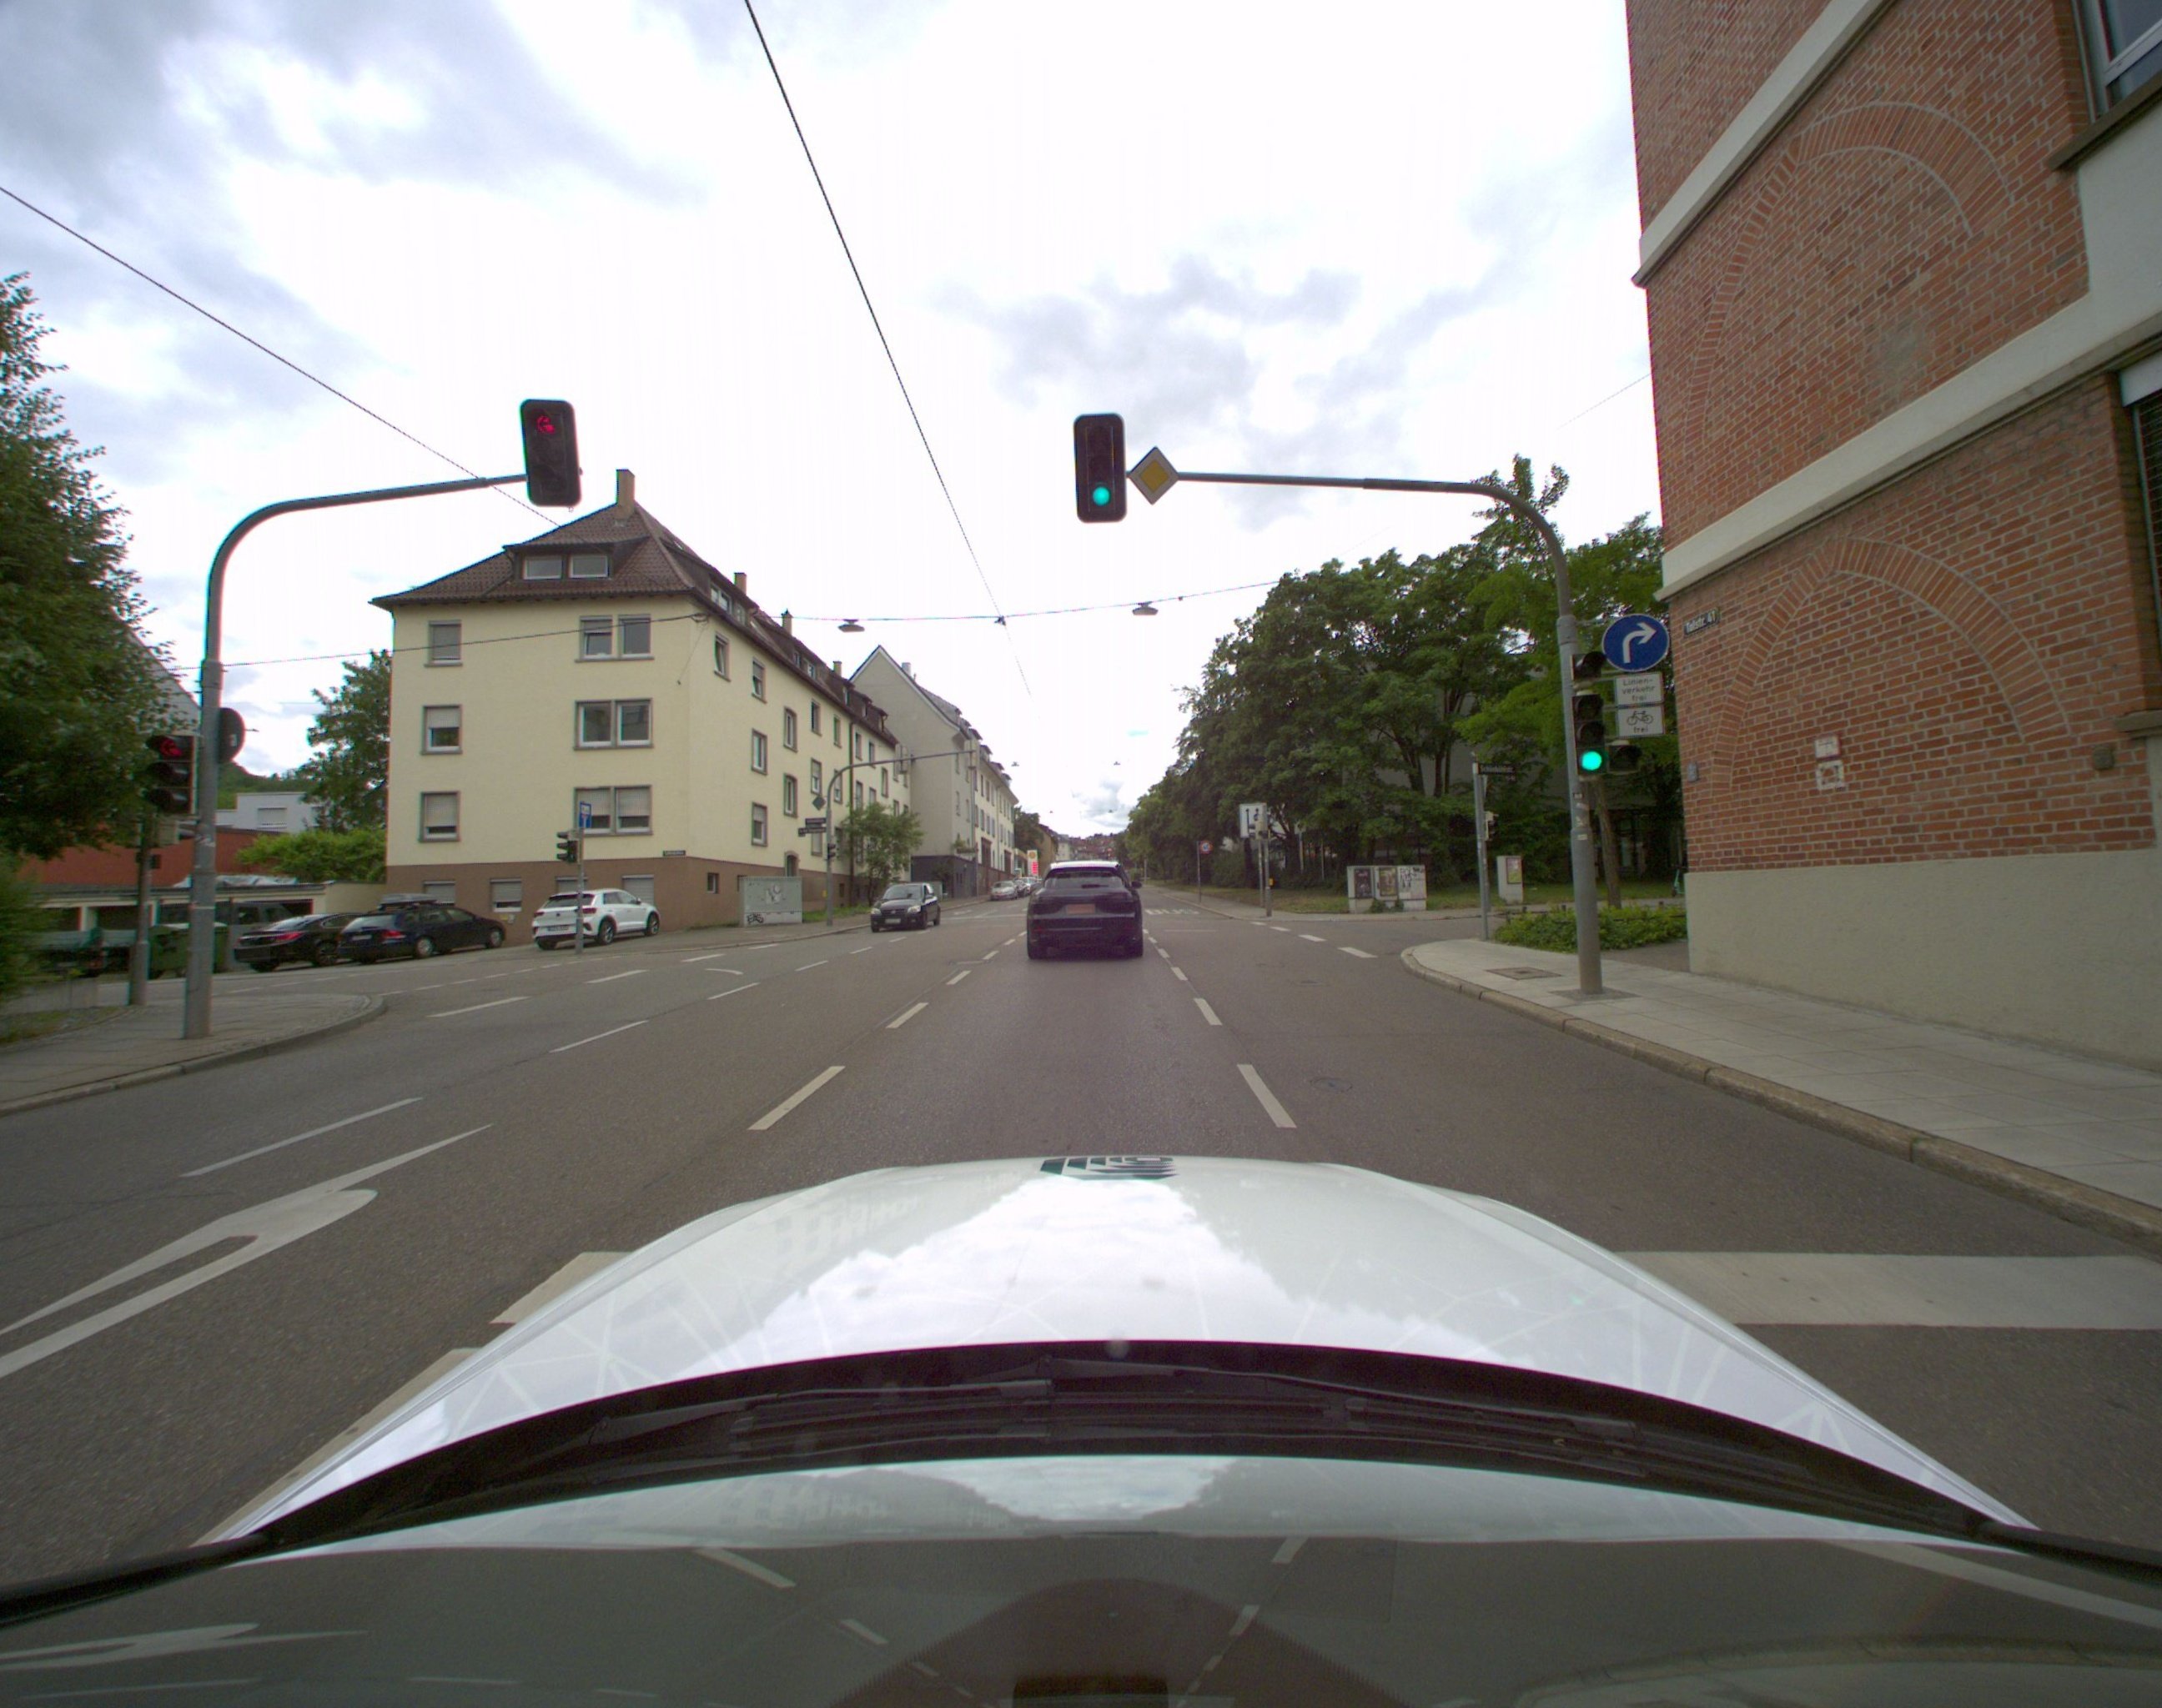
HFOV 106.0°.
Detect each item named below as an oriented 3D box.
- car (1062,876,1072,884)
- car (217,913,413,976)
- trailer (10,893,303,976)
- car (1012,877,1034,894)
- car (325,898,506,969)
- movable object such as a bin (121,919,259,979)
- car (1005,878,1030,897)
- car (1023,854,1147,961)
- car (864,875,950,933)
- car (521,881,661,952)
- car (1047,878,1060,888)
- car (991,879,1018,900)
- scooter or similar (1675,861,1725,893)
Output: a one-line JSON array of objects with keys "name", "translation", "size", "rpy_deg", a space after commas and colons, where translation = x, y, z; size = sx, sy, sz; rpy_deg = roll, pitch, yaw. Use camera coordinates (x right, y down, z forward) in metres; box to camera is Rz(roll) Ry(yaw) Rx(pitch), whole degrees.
[{"name": "car", "translation": [-2.392, 4.529, 141.710], "size": [1.664, 1.362, 3.999], "rpy_deg": [-1, -1, 0]}, {"name": "car", "translation": [-21.412, 2.475, 23.022], "size": [1.663, 1.362, 4.001], "rpy_deg": [-1, -1, 2]}, {"name": "trailer", "translation": [-26.077, 2.182, 23.386], "size": [2.220, 1.928, 5.293], "rpy_deg": [0, -1, 3]}, {"name": "car", "translation": [-5.143, 2.806, 72.905], "size": [1.664, 1.362, 3.999], "rpy_deg": [-1, -1, 0]}, {"name": "car", "translation": [-18.891, 2.191, 23.390], "size": [1.664, 1.546, 4.103], "rpy_deg": [-4, -1, 2]}, {"name": "movable object such as a bin", "translation": [-24.704, 2.598, 22.669], "size": [1.415, 1.429, 2.155], "rpy_deg": [0, -1, 2]}, {"name": "car", "translation": [-5.149, 2.729, 66.584], "size": [1.664, 1.362, 3.999], "rpy_deg": [-1, -1, 0]}, {"name": "car", "translation": [0.123, 0.881, 15.095], "size": [1.986, 1.697, 4.001], "rpy_deg": [0, -1, 2]}, {"name": "car", "translation": [-5.436, 1.531, 25.930], "size": [1.657, 1.519, 3.742], "rpy_deg": [-5, -1, 2]}, {"name": "car", "translation": [-13.923, 1.715, 23.430], "size": [1.666, 1.662, 3.996], "rpy_deg": [-4, -1, -3]}, {"name": "car", "translation": [-3.883, 4.116, 115.439], "size": [1.664, 1.362, 3.999], "rpy_deg": [-1, -1, 0]}, {"name": "car", "translation": [-5.507, 2.539, 59.020], "size": [1.665, 1.362, 3.998], "rpy_deg": [-1, -1, -1]}, {"name": "scooter or similar", "translation": [23.182, 0.864, 30.506], "size": [1.765, 1.177, 0.528], "rpy_deg": [0, -1, -15]}]
